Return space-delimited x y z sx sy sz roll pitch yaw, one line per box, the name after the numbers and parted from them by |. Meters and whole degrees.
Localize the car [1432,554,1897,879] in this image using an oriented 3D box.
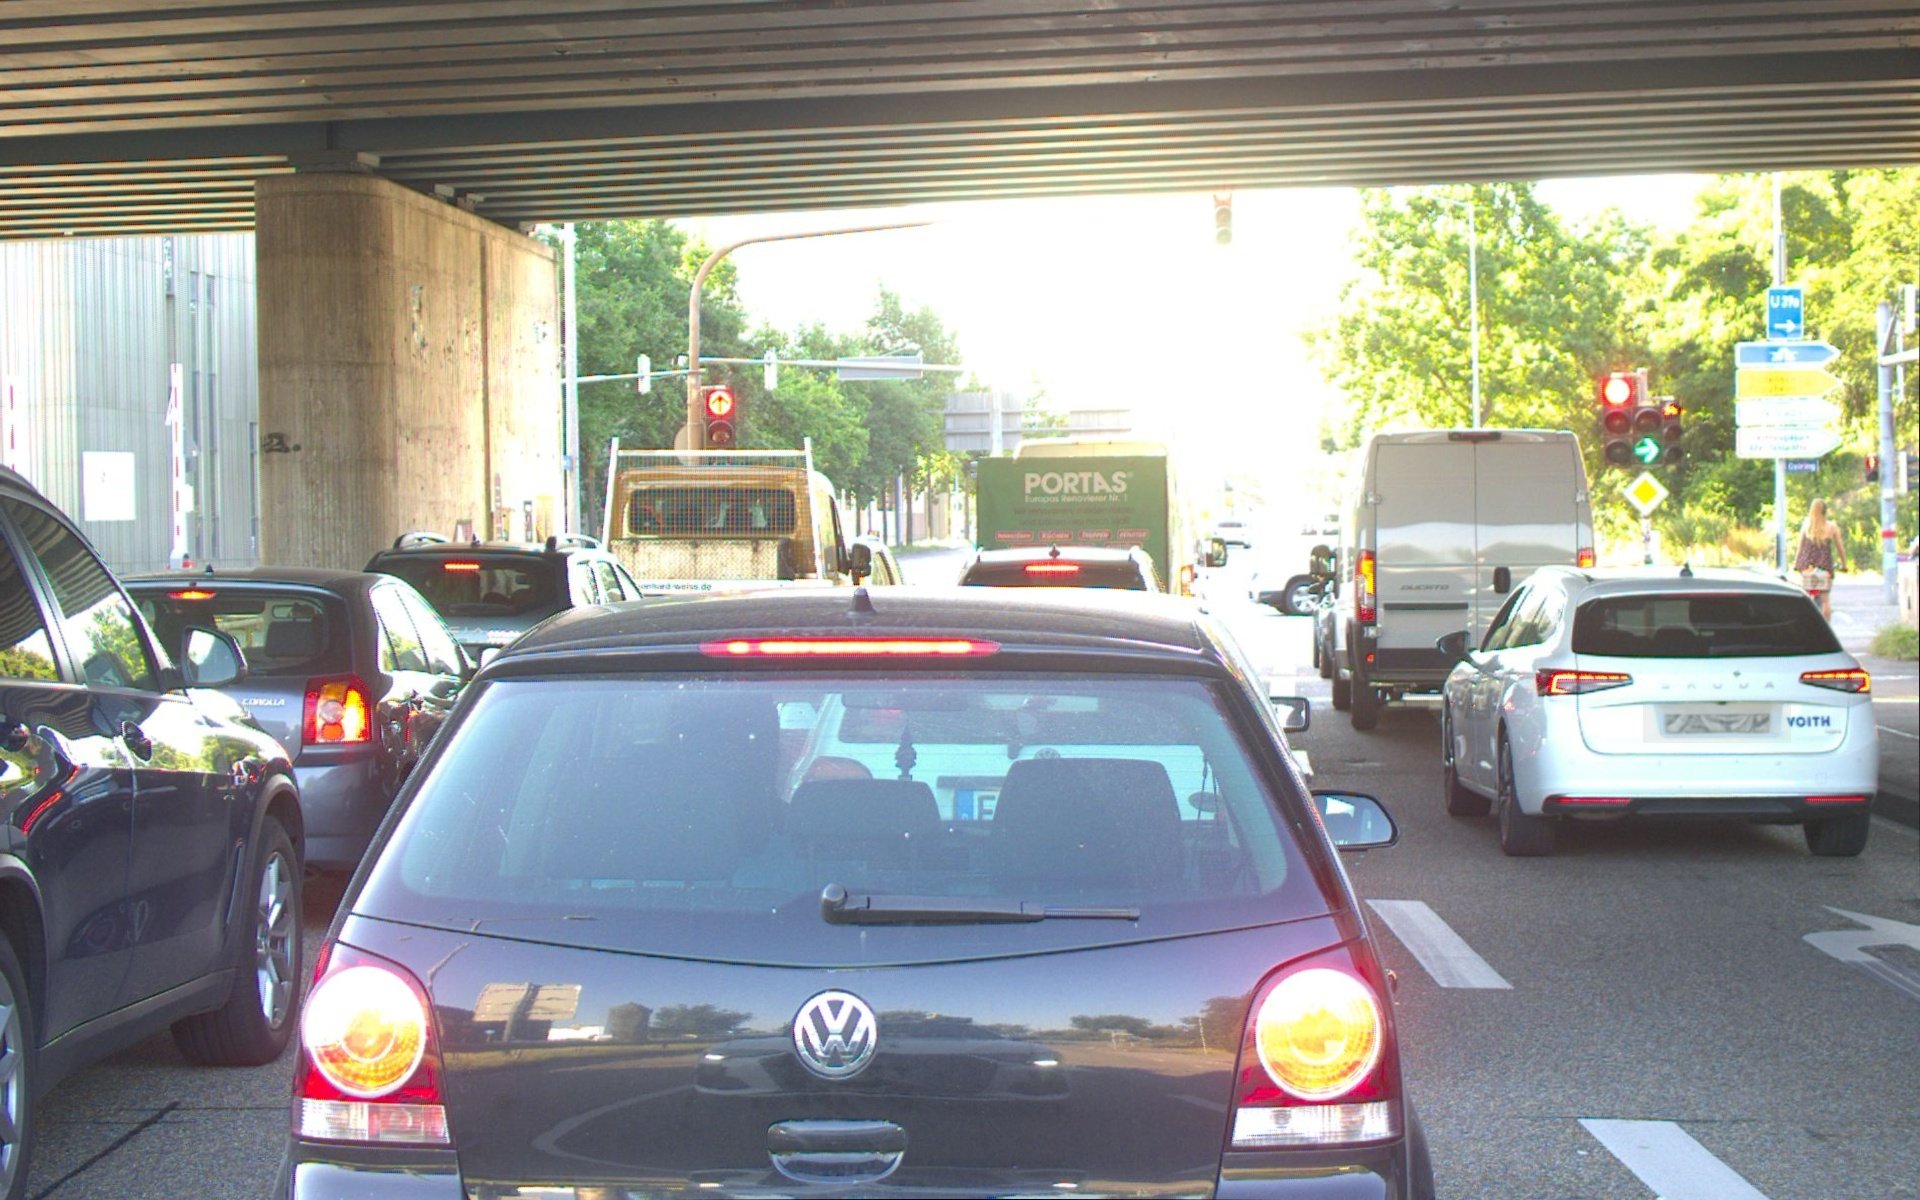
3.601 0.556 18.221 1.772 1.490 3.831 -2 0 2 | car

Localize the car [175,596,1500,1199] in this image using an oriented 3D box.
-0.190 0.707 6.019 1.581 1.404 3.832 0 0 -1 | car

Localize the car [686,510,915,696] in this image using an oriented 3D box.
-1.672 0.033 37.409 1.994 1.894 3.999 -1 0 5 | car

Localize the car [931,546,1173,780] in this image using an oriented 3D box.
0.691 0.417 24.369 1.582 1.527 3.831 0 0 3 | car

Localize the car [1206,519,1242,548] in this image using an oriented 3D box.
12.650 -3.182 164.840 1.339 1.277 2.893 -4 0 -1 | car

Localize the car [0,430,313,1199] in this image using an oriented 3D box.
-2.923 0.520 8.332 1.829 1.732 4.461 -1 0 0 | car

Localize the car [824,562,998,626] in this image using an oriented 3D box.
-0.858 -0.103 59.505 2.822 1.077 1.218 0 0 -12 | car

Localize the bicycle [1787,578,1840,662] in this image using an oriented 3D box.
10.108 0.230 40.711 0.579 0.960 2.884 -1 0 14 | bicycle

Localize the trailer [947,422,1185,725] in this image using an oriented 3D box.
1.003 -0.217 30.470 1.864 2.456 3.831 -2 0 4 | trailer

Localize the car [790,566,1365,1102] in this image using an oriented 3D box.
0.369 0.627 11.209 1.547 1.418 3.417 2 1 2 | car

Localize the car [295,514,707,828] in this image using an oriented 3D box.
-2.817 0.408 21.982 1.841 1.713 4.000 -4 0 2 | car

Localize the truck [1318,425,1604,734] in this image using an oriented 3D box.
4.400 -0.175 30.821 2.111 2.511 4.400 -2 0 4 | truck

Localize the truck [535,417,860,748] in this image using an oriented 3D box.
-2.117 -0.131 29.392 2.028 2.548 5.536 0 0 3 | truck

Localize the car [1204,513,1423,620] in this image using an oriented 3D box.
6.419 -0.607 62.257 3.795 1.678 1.664 -4 0 8 | car

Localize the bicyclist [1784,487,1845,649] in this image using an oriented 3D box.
10.148 -0.375 40.821 0.682 1.900 0.832 0 0 15 | bicyclist

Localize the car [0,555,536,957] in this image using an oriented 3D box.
-3.023 0.601 14.947 1.841 1.435 3.675 -4 0 0 | car

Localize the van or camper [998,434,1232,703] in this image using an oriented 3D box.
1.710 -0.299 35.840 1.994 2.562 5.916 0 0 7 | van or camper
